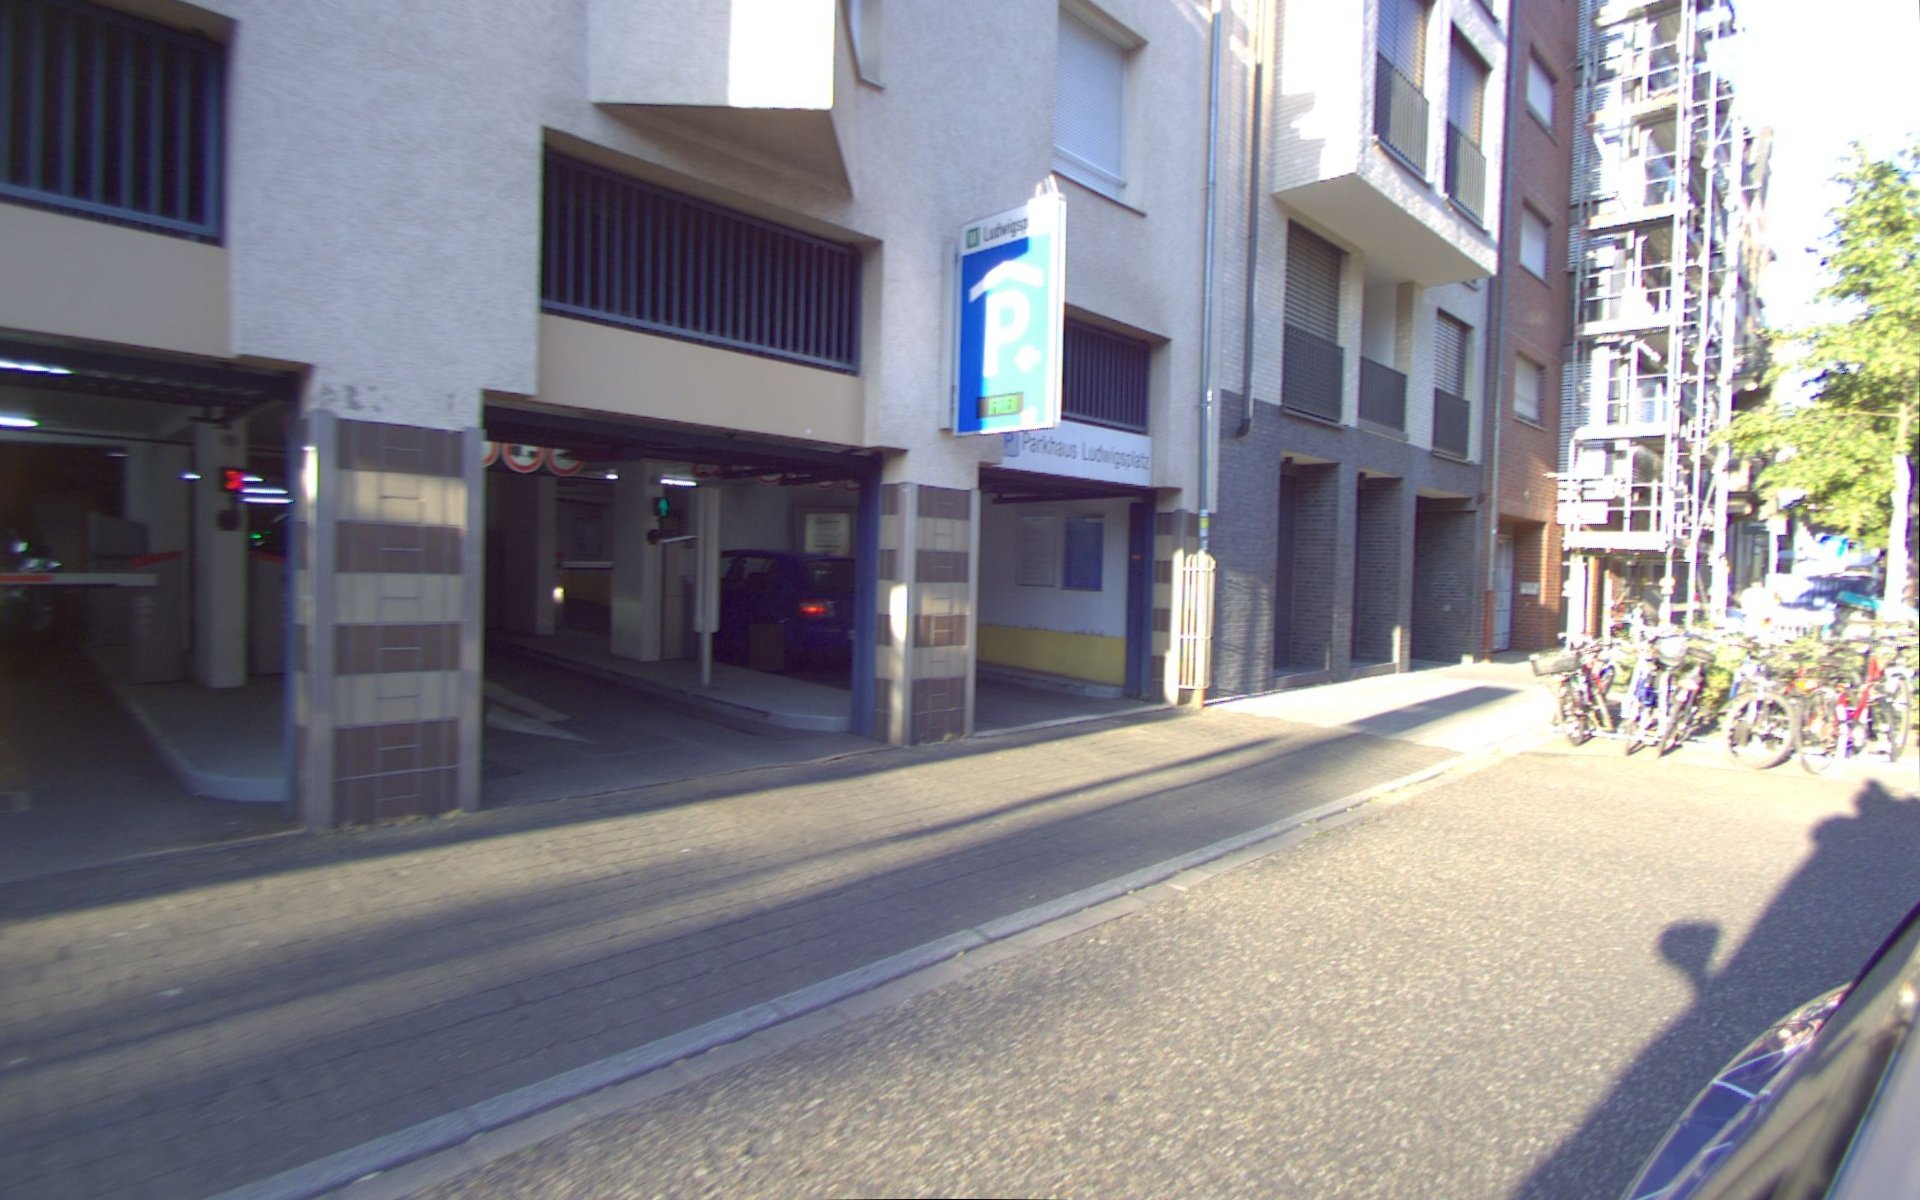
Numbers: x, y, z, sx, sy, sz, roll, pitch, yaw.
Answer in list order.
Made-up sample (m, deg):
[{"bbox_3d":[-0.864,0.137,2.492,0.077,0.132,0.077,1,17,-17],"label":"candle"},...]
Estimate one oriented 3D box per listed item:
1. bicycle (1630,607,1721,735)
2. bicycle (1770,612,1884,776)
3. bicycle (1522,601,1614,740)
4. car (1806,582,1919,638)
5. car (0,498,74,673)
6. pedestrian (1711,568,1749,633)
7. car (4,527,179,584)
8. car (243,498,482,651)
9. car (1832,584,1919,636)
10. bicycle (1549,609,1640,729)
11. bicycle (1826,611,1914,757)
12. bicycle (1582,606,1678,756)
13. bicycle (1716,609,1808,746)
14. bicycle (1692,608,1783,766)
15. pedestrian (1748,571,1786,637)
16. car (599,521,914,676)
[{"bbox_3d":[7.253,0.674,10.235,0.467,1.158,1.527,3,2,44],"label":"bicycle"},{"bbox_3d":[6.947,0.698,8.088,1.525,1.171,0.418,0,2,-41],"label":"bicycle"},{"bbox_3d":[5.731,0.621,9.519,0.387,1.198,1.383,3,2,44],"label":"bicycle"},{"bbox_3d":[31.103,0.335,33.914,1.859,1.704,3.993,0,3,-43],"label":"car"},{"bbox_3d":[-10.617,-0.242,10.491,1.785,1.592,4.251,-1,4,-37],"label":"car"},{"bbox_3d":[22.072,0.000,29.028,0.646,1.805,0.742,0,2,-45],"label":"pedestrian"},{"bbox_3d":[-24.136,-1.245,28.160,3.816,1.408,1.606,2,3,8],"label":"car"},{"bbox_3d":[-7.840,-0.370,13.083,1.859,1.644,4.293,0,3,-42],"label":"car"},{"bbox_3d":[33.307,0.364,35.430,1.859,1.704,3.993,0,3,-43],"label":"car"},{"bbox_3d":[6.723,0.688,10.698,0.457,1.146,1.527,3,2,44],"label":"bicycle"},{"bbox_3d":[8.299,0.715,9.209,0.487,1.177,1.527,3,2,44],"label":"bicycle"},{"bbox_3d":[5.977,0.669,8.998,0.386,1.203,1.527,3,2,44],"label":"bicycle"},{"bbox_3d":[7.666,0.693,9.658,0.487,1.164,1.527,3,2,44],"label":"bicycle"},{"bbox_3d":[6.505,0.674,8.445,0.381,1.174,1.527,3,2,44],"label":"bicycle"},{"bbox_3d":[22.753,0.104,28.541,0.741,1.805,0.646,2,2,43],"label":"pedestrian"},{"bbox_3d":[-2.717,-0.126,13.026,4.098,1.582,1.671,5,4,37],"label":"car"}]
